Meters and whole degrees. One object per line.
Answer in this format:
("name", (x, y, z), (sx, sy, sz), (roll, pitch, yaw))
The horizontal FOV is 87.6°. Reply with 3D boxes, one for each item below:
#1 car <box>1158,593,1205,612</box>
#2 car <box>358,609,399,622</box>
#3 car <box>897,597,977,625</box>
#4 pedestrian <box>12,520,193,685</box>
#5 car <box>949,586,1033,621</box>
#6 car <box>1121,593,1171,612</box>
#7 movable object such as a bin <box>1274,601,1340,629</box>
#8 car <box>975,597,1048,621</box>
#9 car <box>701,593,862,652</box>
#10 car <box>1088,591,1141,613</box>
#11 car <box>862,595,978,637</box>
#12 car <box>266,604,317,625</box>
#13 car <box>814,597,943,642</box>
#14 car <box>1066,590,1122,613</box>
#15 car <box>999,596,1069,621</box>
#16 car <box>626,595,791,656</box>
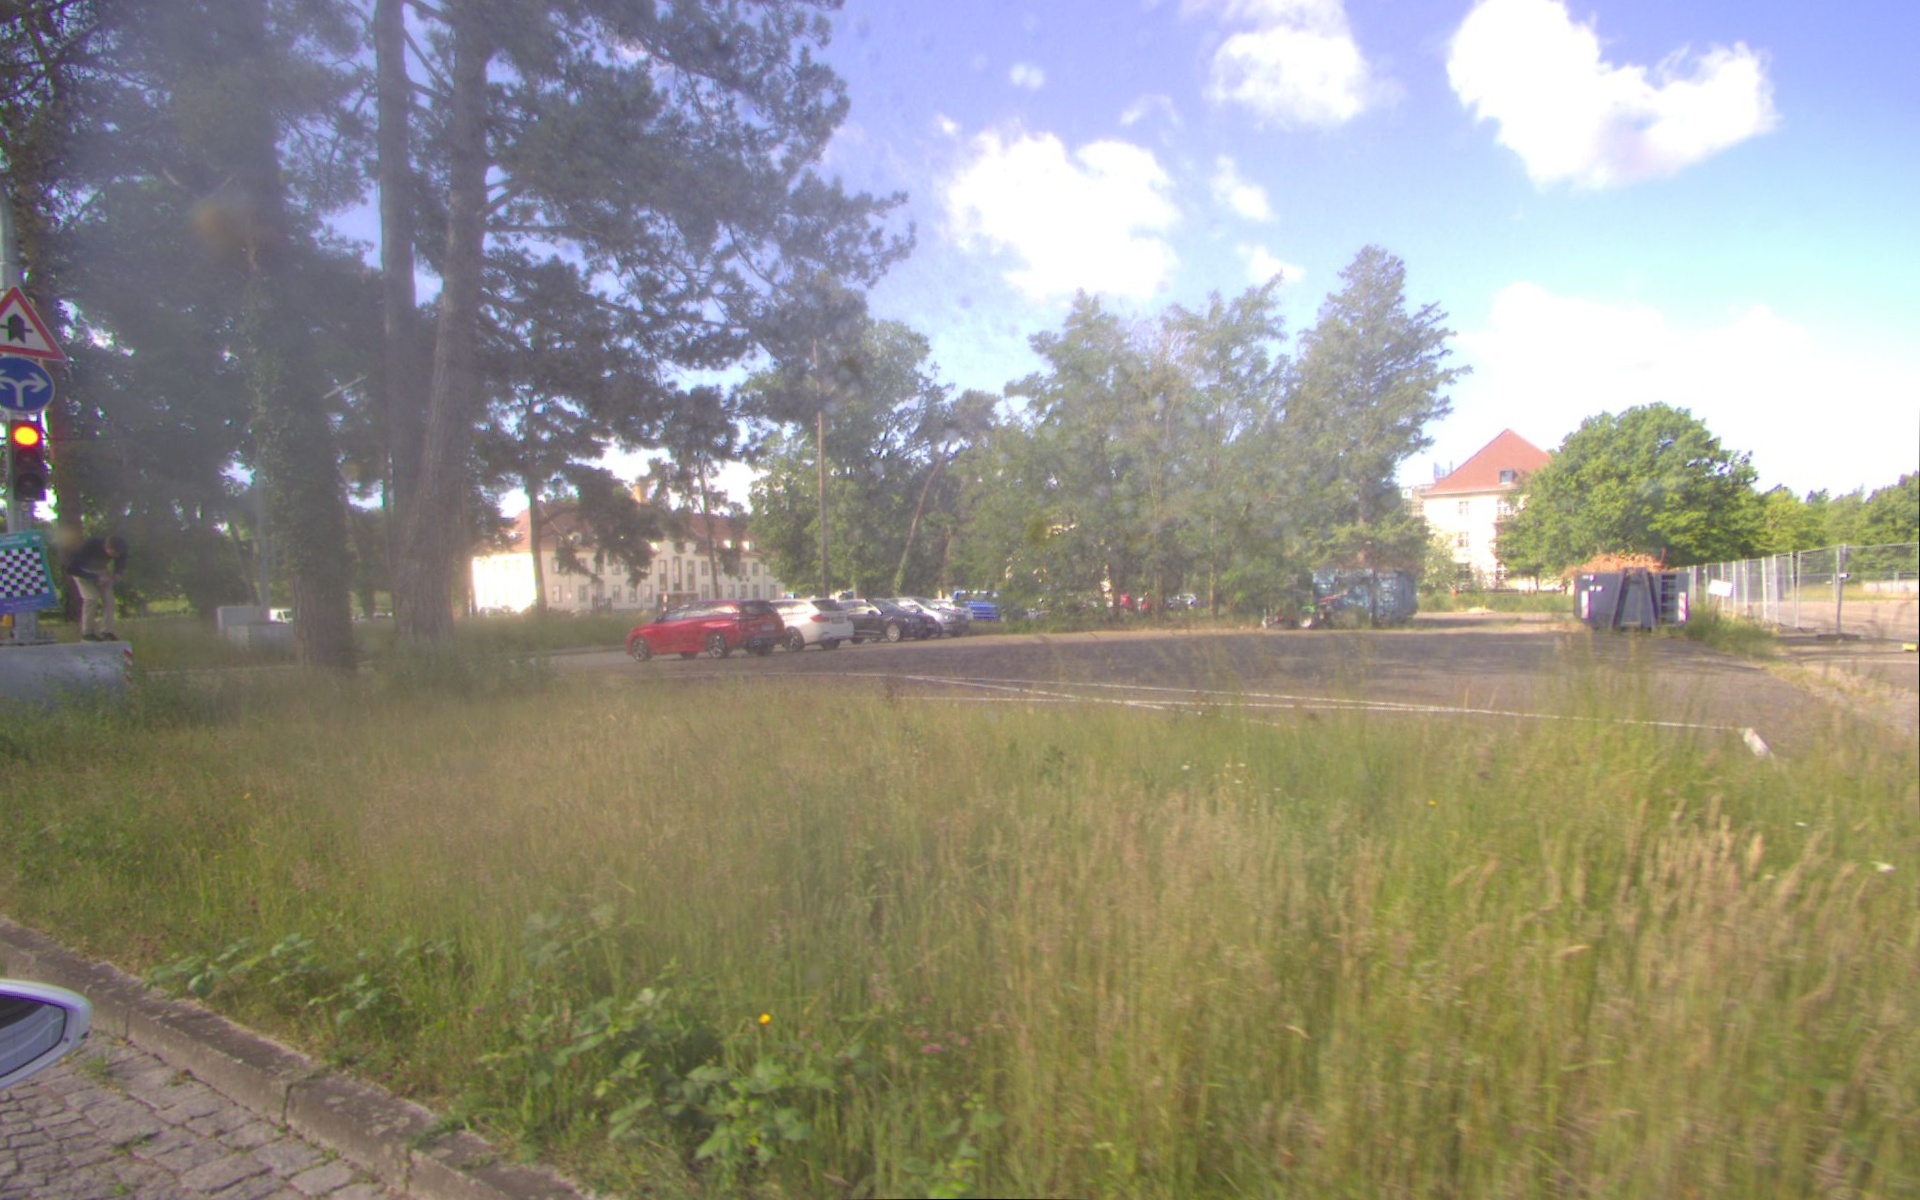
("car", (19.427, 0.258, 87.864), (3.681, 1.568, 1.705), (-1, -1, 32))
("car", (-49.898, 1.328, 85.941), (3.950, 1.101, 1.715), (-1, 1, 38))
("car", (-1.290, 0.625, 55.423), (4.180, 1.487, 1.720), (-1, -1, 32))
("pedestrian", (-10.008, 0.025, 11.732), (1.043, 1.821, 1.170), (-1, 2, 16))
("car", (1.843, 0.234, 59.602), (4.677, 1.973, 1.981), (-1, -1, 32))
("car", (15.424, 0.226, 82.968), (3.681, 1.568, 1.705), (-1, -1, 32))
("movable object such as a bin", (10.012, 0.429, 28.903), (1.696, 0.763, 1.143), (-1, 1, 25))
("car", (3.177, 0.558, 61.920), (4.180, 1.443, 1.720), (-1, -1, 32))
("car", (-4.945, 0.624, 27.611), (4.180, 1.397, 1.776), (-3, 0, 31))
("car", (11.732, 0.163, 76.087), (3.681, 1.568, 1.705), (-1, -1, 32))
("car", (-1.407, 0.552, 34.850), (3.740, 1.390, 1.719), (-1, -1, 34))
("car", (-53.272, 1.192, 79.760), (4.103, 1.603, 1.823), (-1, 1, 32))
("car", (-2.651, 0.612, 32.277), (3.988, 1.333, 1.612), (-1, 2, 33))
("car", (9.729, 0.133, 72.676), (3.639, 1.568, 1.705), (-1, -1, 32))
("car", (4.732, 0.558, 64.514), (4.180, 1.568, 1.720), (-1, -1, 32))
("car", (-6.352, 0.662, 25.135), (4.071, 1.417, 1.652), (-2, -1, 32))
